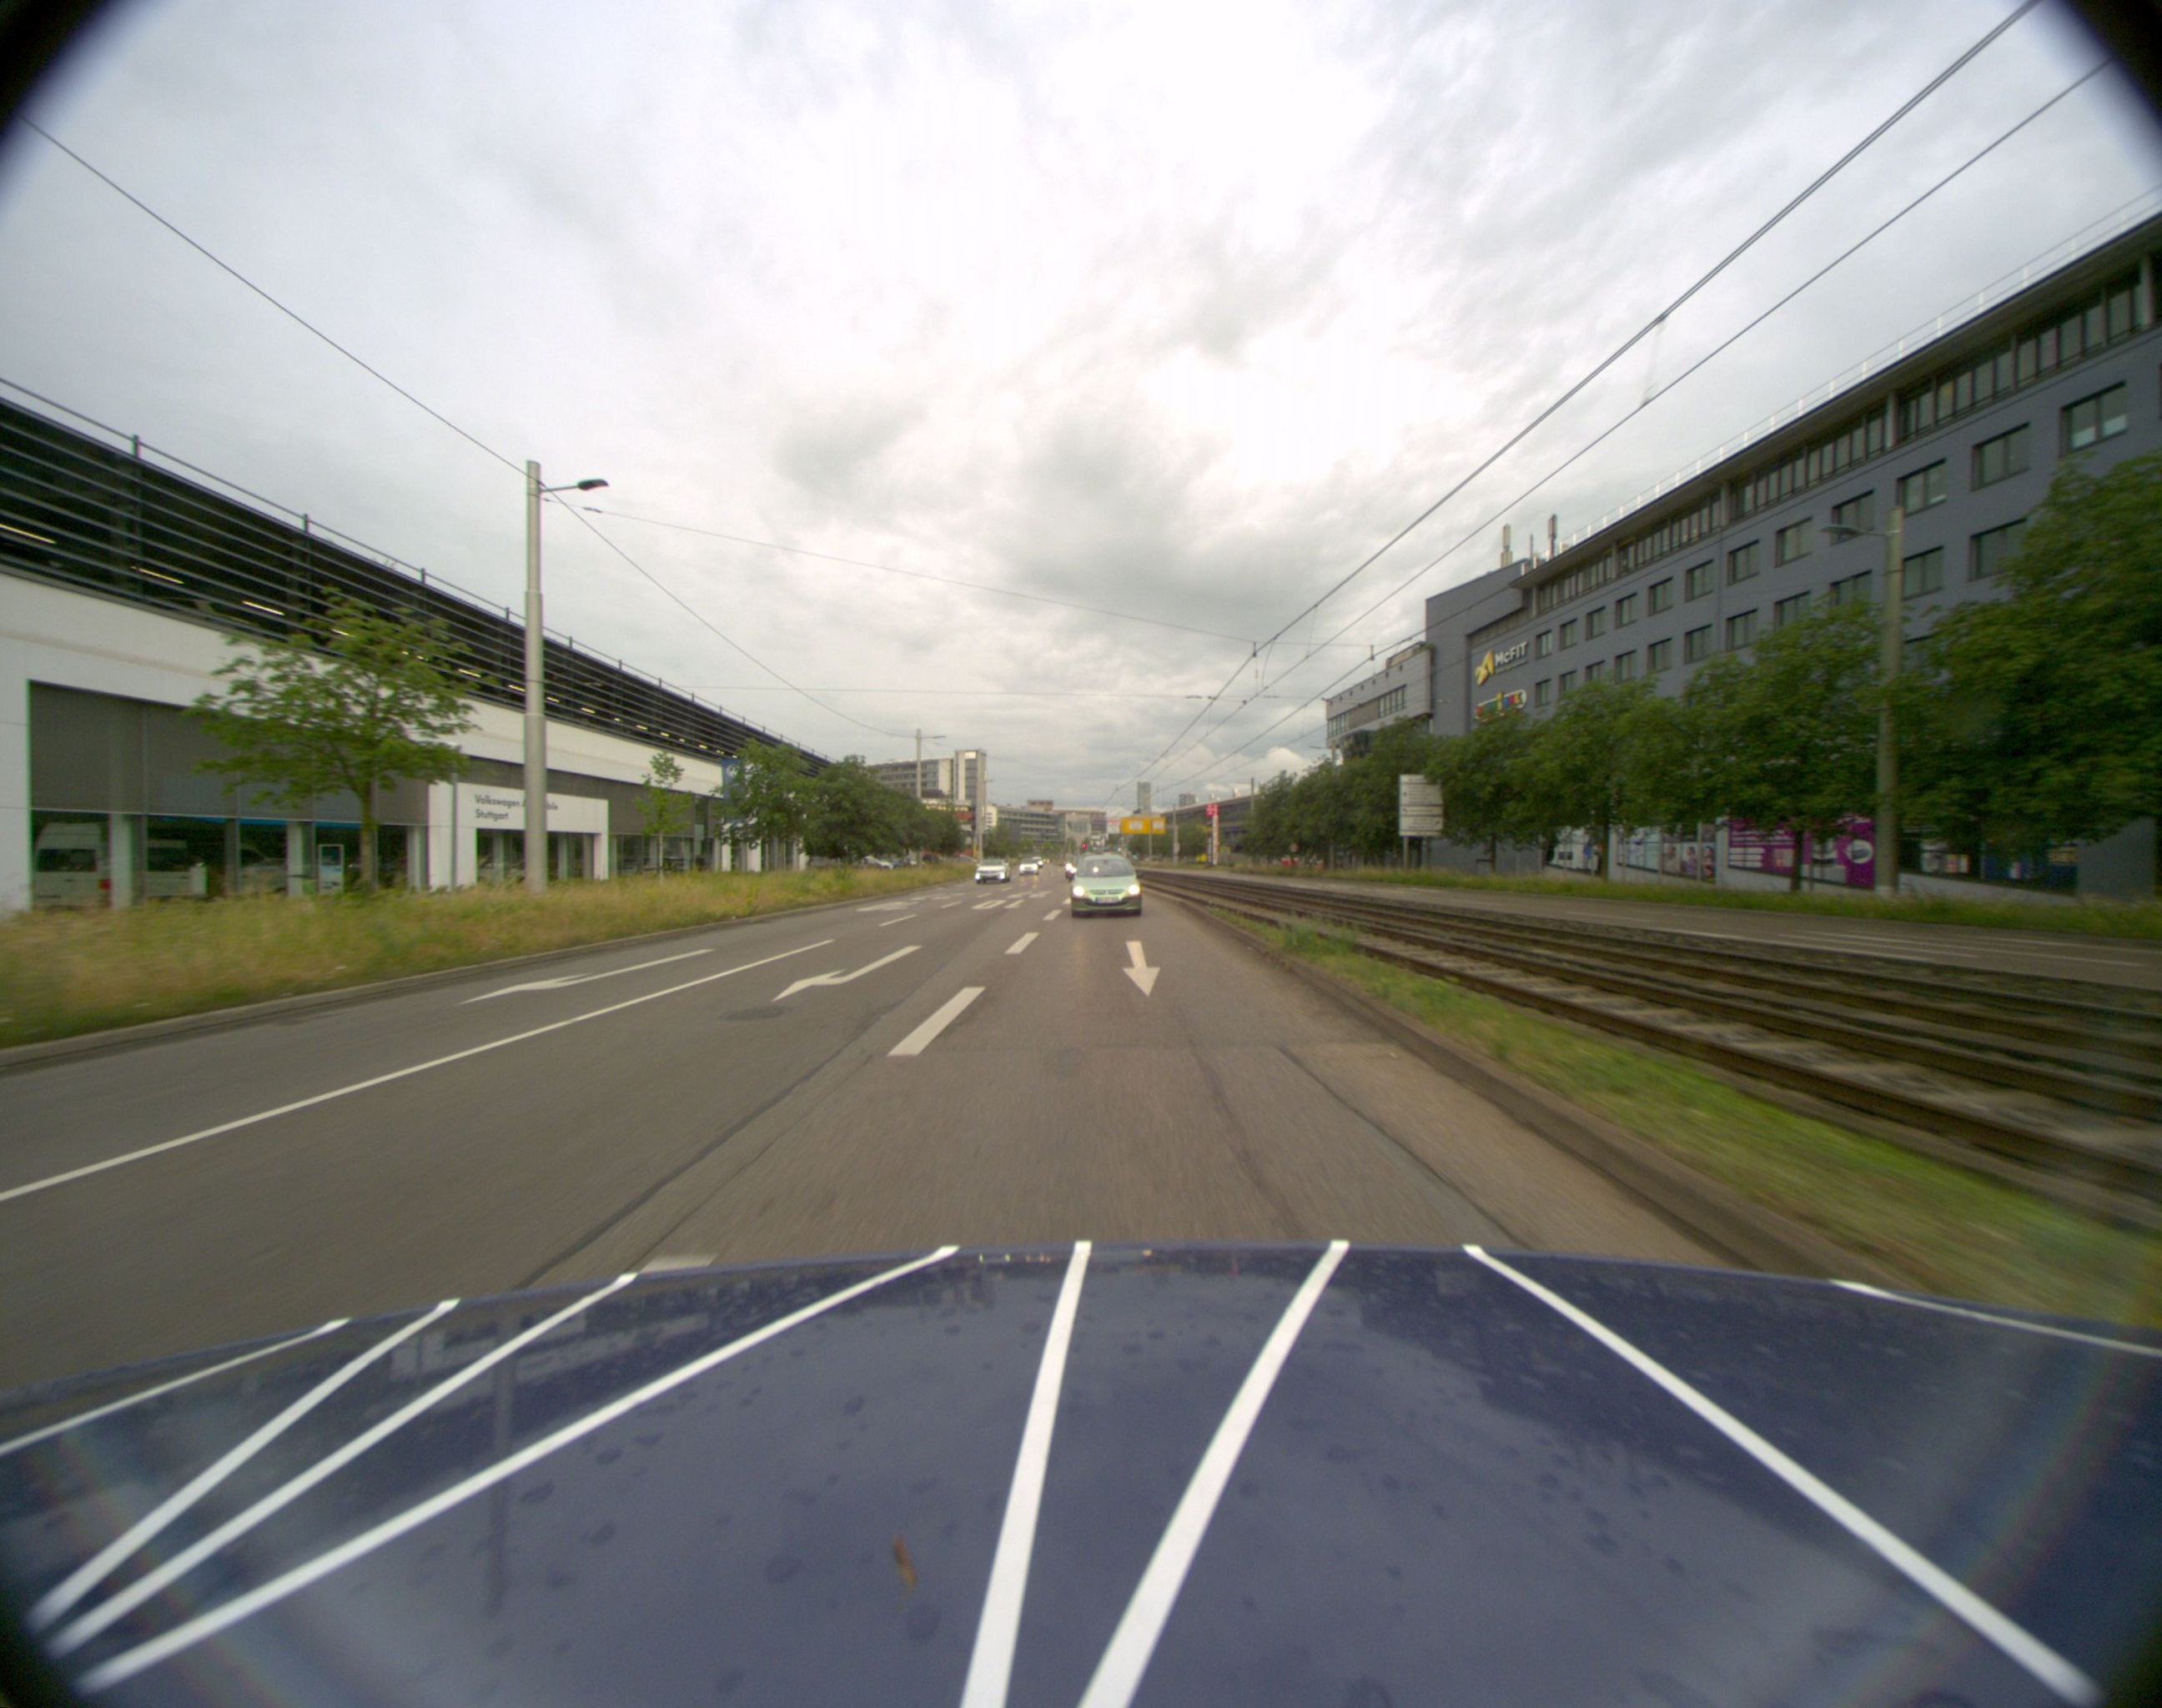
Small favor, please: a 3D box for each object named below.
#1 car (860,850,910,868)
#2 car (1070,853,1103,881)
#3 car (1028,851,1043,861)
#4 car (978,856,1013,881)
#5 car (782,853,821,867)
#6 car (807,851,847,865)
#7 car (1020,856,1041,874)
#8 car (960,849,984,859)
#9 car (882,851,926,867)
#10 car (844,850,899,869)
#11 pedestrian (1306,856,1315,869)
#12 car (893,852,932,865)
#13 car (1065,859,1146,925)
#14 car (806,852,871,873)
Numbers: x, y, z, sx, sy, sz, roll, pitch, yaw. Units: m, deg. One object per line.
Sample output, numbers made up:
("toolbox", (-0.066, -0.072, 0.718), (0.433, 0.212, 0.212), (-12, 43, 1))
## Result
("car", (-18.424, 0.476, 71.569), (4.199, 1.560, 1.794), (1, 1, -38))
("car", (0.277, 0.745, 45.589), (1.762, 1.535, 3.713), (-2, 0, -2))
("car", (-6.968, 0.327, 117.686), (1.890, 1.584, 3.982), (-1, 0, 2))
("car", (-5.342, 0.887, 47.934), (1.879, 1.485, 3.835), (-1, 0, -2))
("car", (-31.597, 0.703, 85.891), (3.827, 1.578, 1.638), (0, 0, -4))
("car", (-29.332, 0.458, 87.918), (3.997, 1.499, 1.785), (-2, 1, -1))
("car", (-4.633, 1.002, 70.364), (1.819, 1.584, 3.835), (0, 0, -2))
("car", (-22.716, 0.012, 158.459), (4.505, 1.980, 1.818), (2, 0, -21))
("car", (-18.500, 0.545, 79.385), (4.109, 1.560, 1.794), (1, 1, -40))
("car", (-18.726, 0.506, 68.094), (4.363, 1.617, 1.851), (1, 1, -33))
("pedestrian", (28.947, 1.033, 95.879), (0.810, 1.669, 0.580), (1, 0, -14))
("car", (-19.638, 0.549, 88.691), (4.108, 1.457, 1.743), (1, 1, -36))
("car", (0.526, 0.900, 19.815), (1.762, 1.489, 4.136), (0, 0, -3))
("car", (-19.394, 0.660, 60.897), (4.634, 1.559, 1.847), (1, 1, -33))
